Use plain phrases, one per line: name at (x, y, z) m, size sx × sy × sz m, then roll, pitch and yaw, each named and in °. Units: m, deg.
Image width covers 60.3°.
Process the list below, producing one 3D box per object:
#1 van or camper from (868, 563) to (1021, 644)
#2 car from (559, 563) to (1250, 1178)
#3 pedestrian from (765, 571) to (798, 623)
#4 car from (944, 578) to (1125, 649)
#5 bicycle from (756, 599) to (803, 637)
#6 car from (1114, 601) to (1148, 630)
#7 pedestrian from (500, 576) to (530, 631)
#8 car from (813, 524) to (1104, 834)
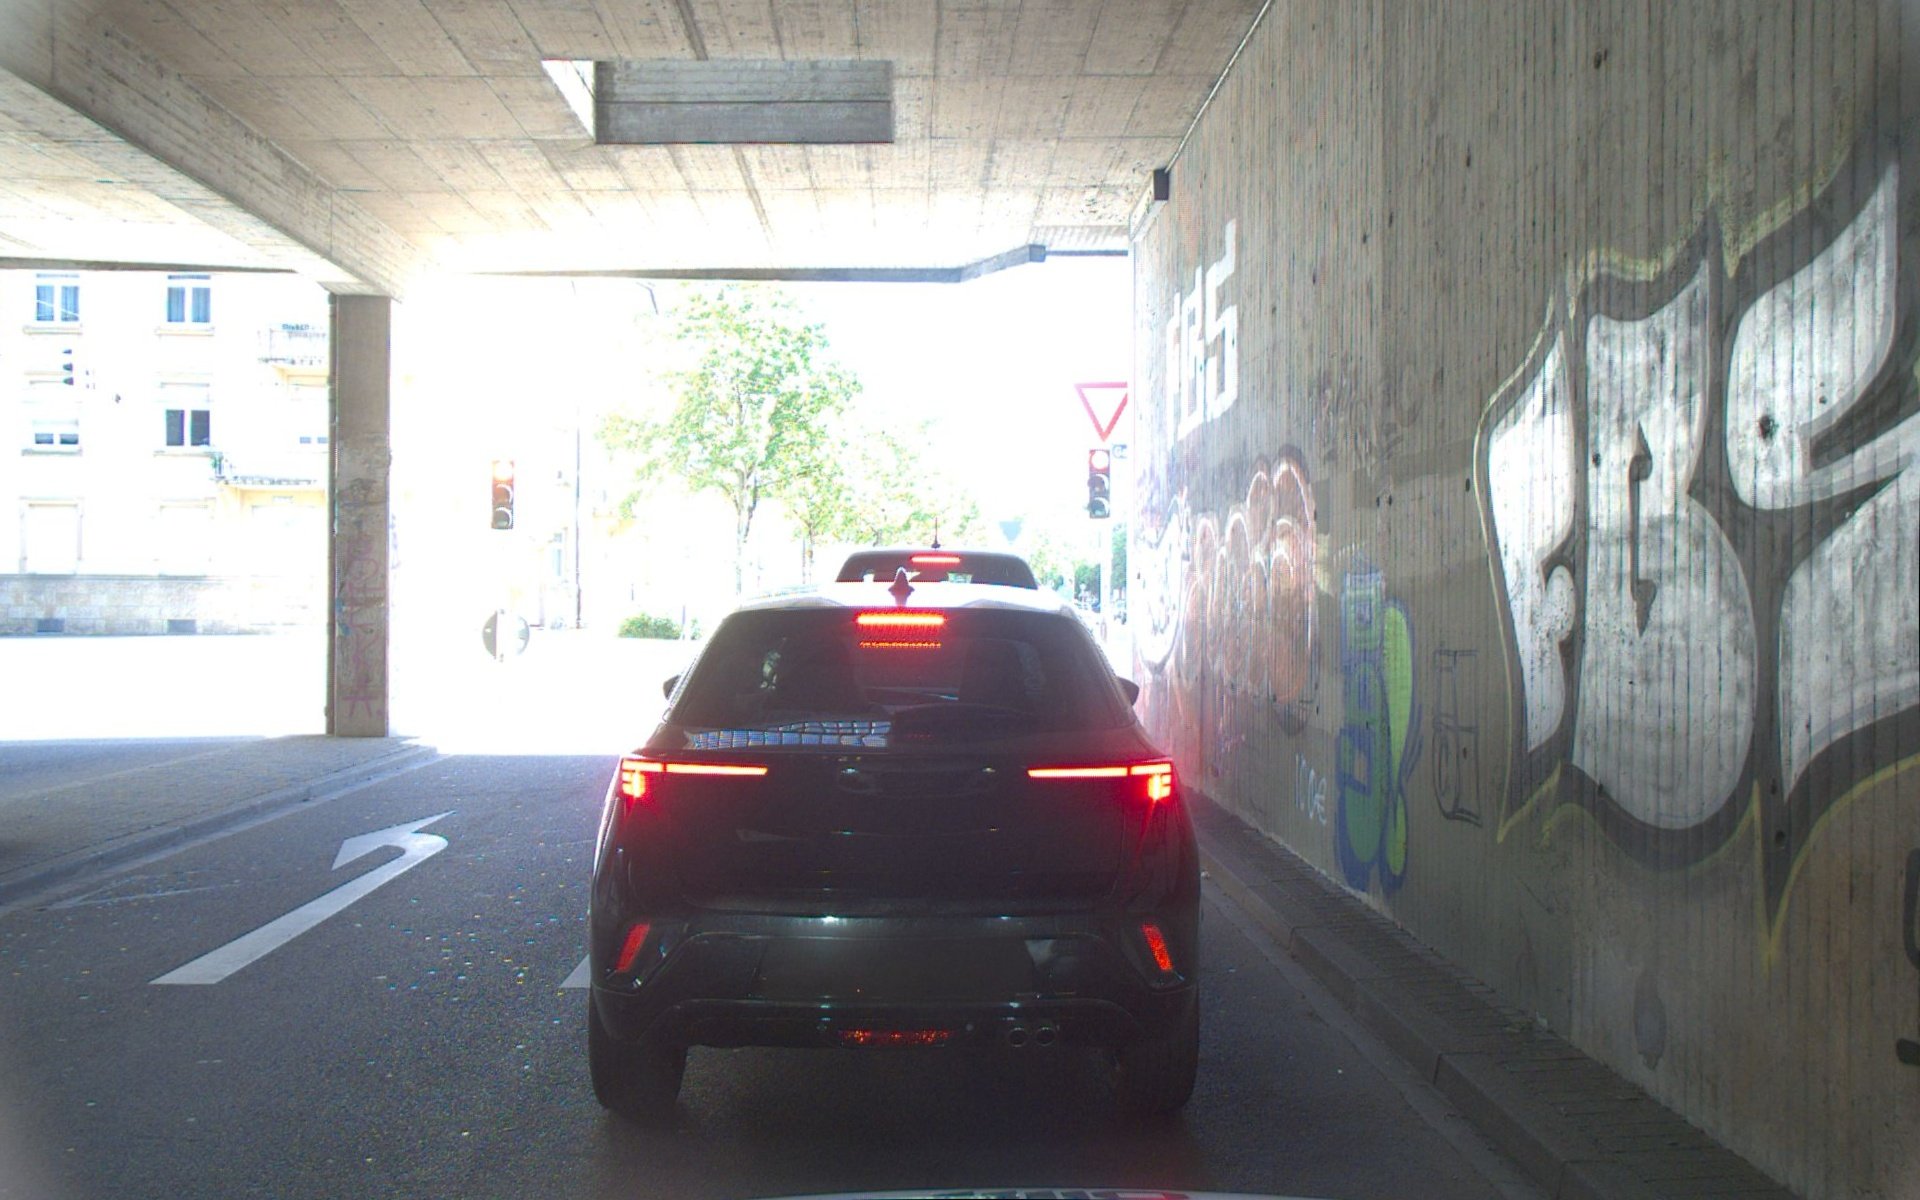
van or camper at (-0.371, 0.086, 43.426) m, size 3.795 × 2.049 × 2.002 m, roll 0°, pitch 0°, yaw 7°
car at (-0.153, 0.674, 6.171) m, size 1.718 × 1.525 × 4.000 m, roll 1°, pitch 0°, yaw -1°
pedestrian at (-5.542, -0.089, 51.310) m, size 0.720 × 1.612 × 0.891 m, roll 1°, pitch -1°, yaw 15°
car at (1.817, 0.292, 38.841) m, size 1.961 × 1.561 × 4.714 m, roll 0°, pitch 0°, yaw 37°
bicycle at (-5.568, 0.556, 51.224) m, size 0.721 × 1.150 × 2.027 m, roll 0°, pitch 0°, yaw 16°
car at (10.199, 0.903, 98.514) m, size 1.951 × 1.670 × 4.596 m, roll 0°, pitch 0°, yaw 6°
pedestrian at (-14.110, 0.109, 52.495) m, size 0.609 × 1.734 × 0.724 m, roll 1°, pitch -1°, yaw 13°
car at (-0.032, 0.474, 12.053) m, size 1.749 × 1.865 × 3.960 m, roll 1°, pitch 0°, yaw -1°
